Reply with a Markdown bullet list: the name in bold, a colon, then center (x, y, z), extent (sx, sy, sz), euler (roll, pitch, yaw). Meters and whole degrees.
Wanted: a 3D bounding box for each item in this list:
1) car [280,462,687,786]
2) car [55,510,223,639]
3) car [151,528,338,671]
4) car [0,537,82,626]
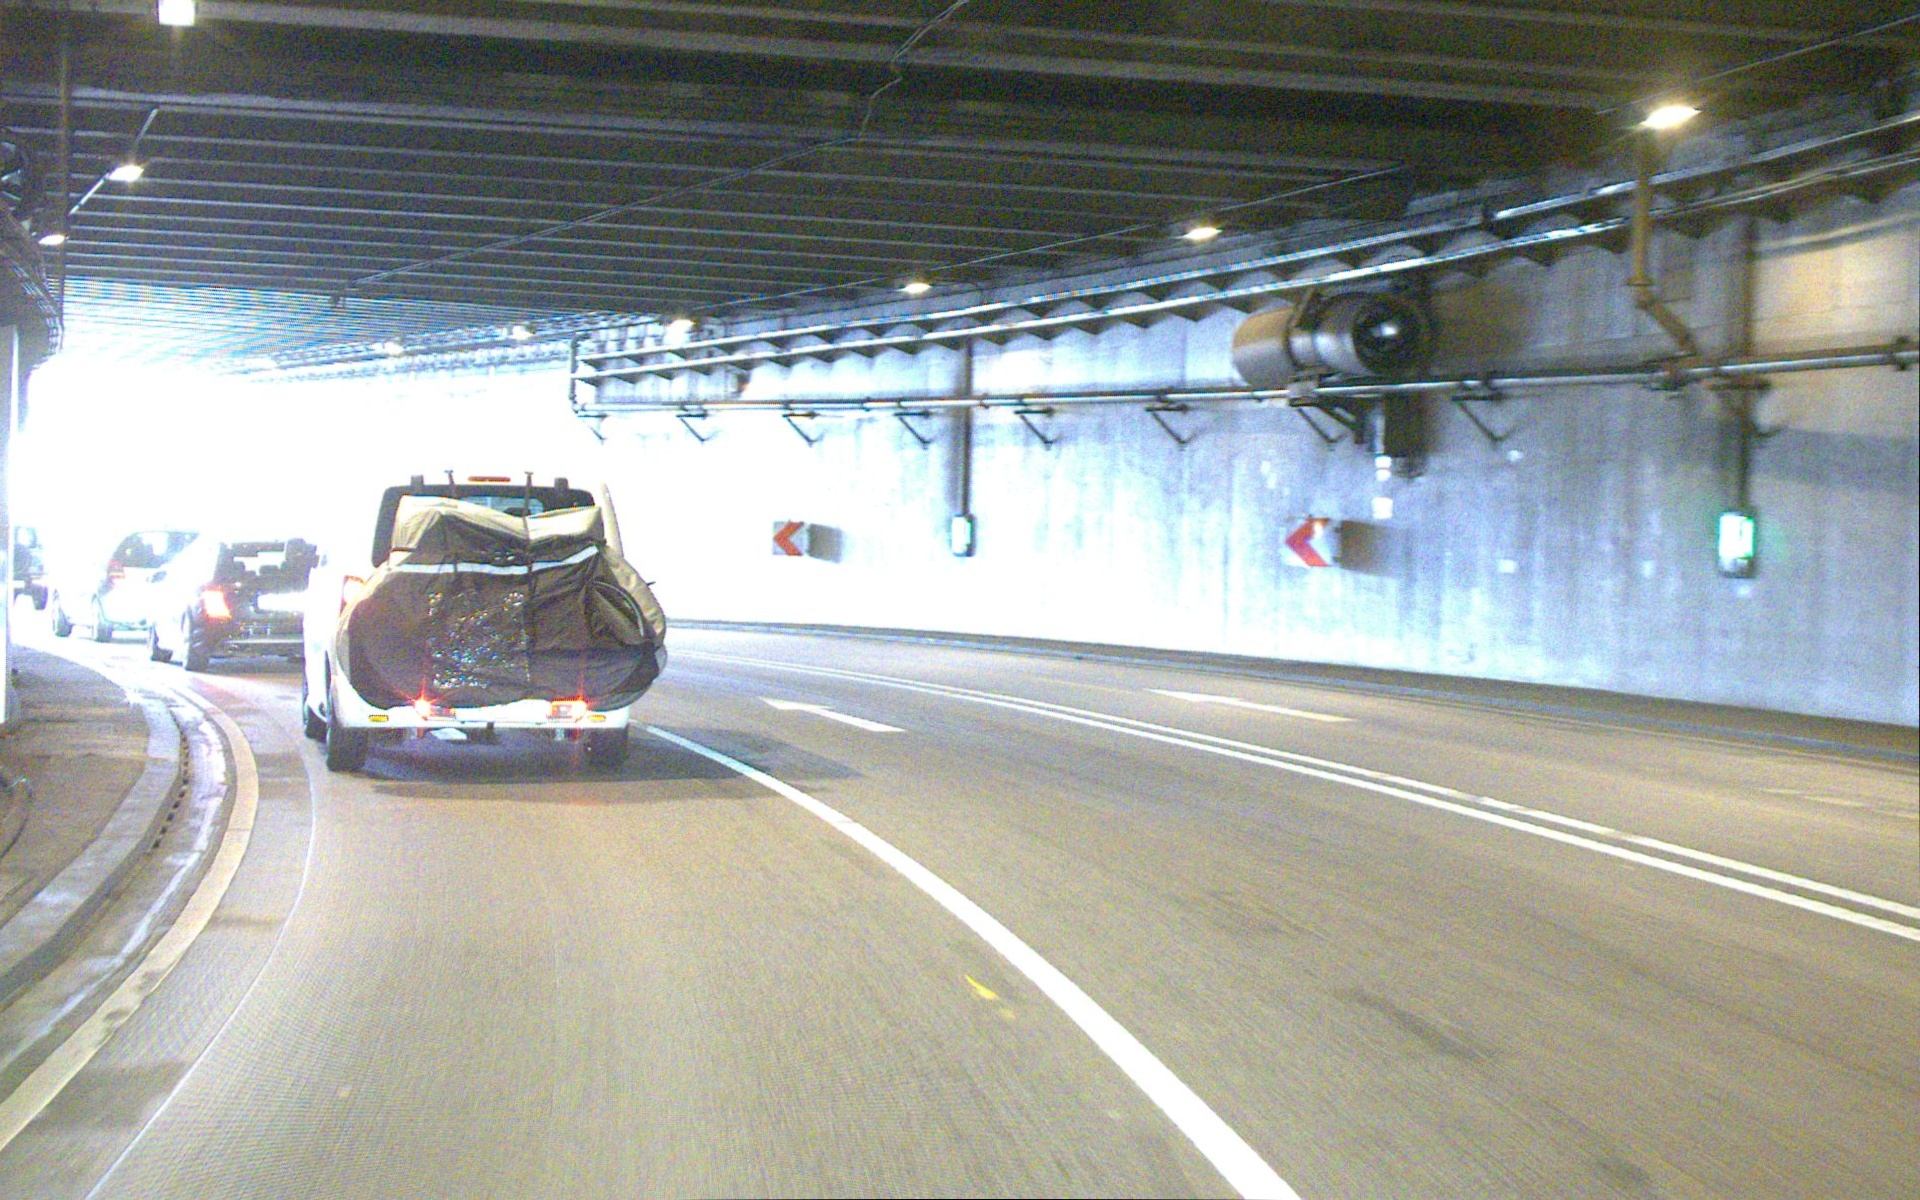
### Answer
- **car**: center (-3.228, 0.065, 22.293), extent (1.993, 1.841, 5.303), euler (0, 2, -15)
- **car**: center (-10.821, -0.361, 45.174), extent (1.602, 1.588, 3.357), euler (2, 1, -22)
- **car**: center (-7.568, -0.042, 36.204), extent (1.602, 1.390, 3.278), euler (-2, 2, -17)
- **car**: center (-17.979, -0.378, 65.599), extent (1.602, 1.624, 3.356), euler (1, 1, -28)
